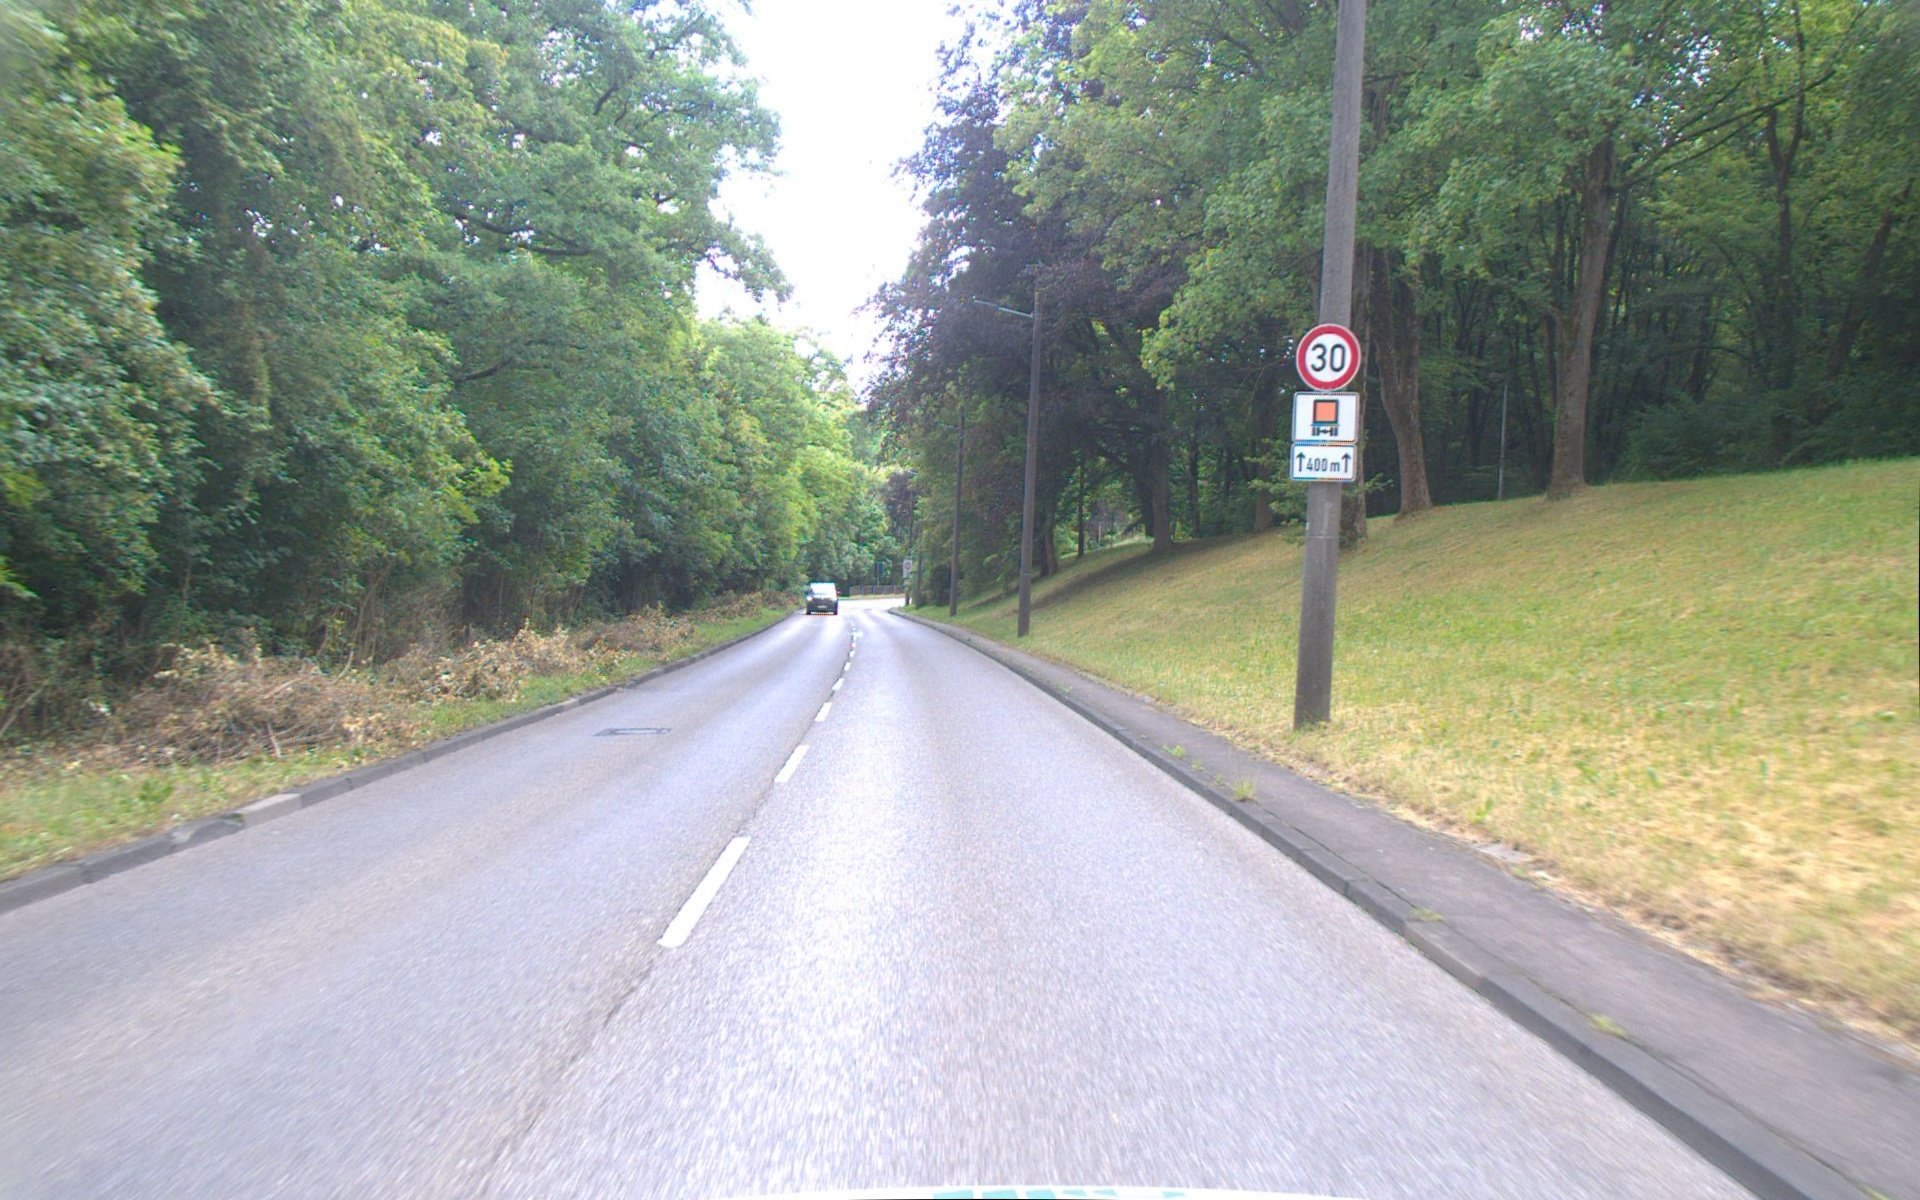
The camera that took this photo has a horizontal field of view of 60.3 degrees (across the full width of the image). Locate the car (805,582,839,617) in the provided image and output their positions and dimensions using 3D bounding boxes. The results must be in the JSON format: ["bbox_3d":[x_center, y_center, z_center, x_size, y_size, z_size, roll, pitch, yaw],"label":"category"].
[{"bbox_3d":[-8.289,-0.027,99.539,1.954,1.982,4.941,1,0,-4],"label":"car"}]
